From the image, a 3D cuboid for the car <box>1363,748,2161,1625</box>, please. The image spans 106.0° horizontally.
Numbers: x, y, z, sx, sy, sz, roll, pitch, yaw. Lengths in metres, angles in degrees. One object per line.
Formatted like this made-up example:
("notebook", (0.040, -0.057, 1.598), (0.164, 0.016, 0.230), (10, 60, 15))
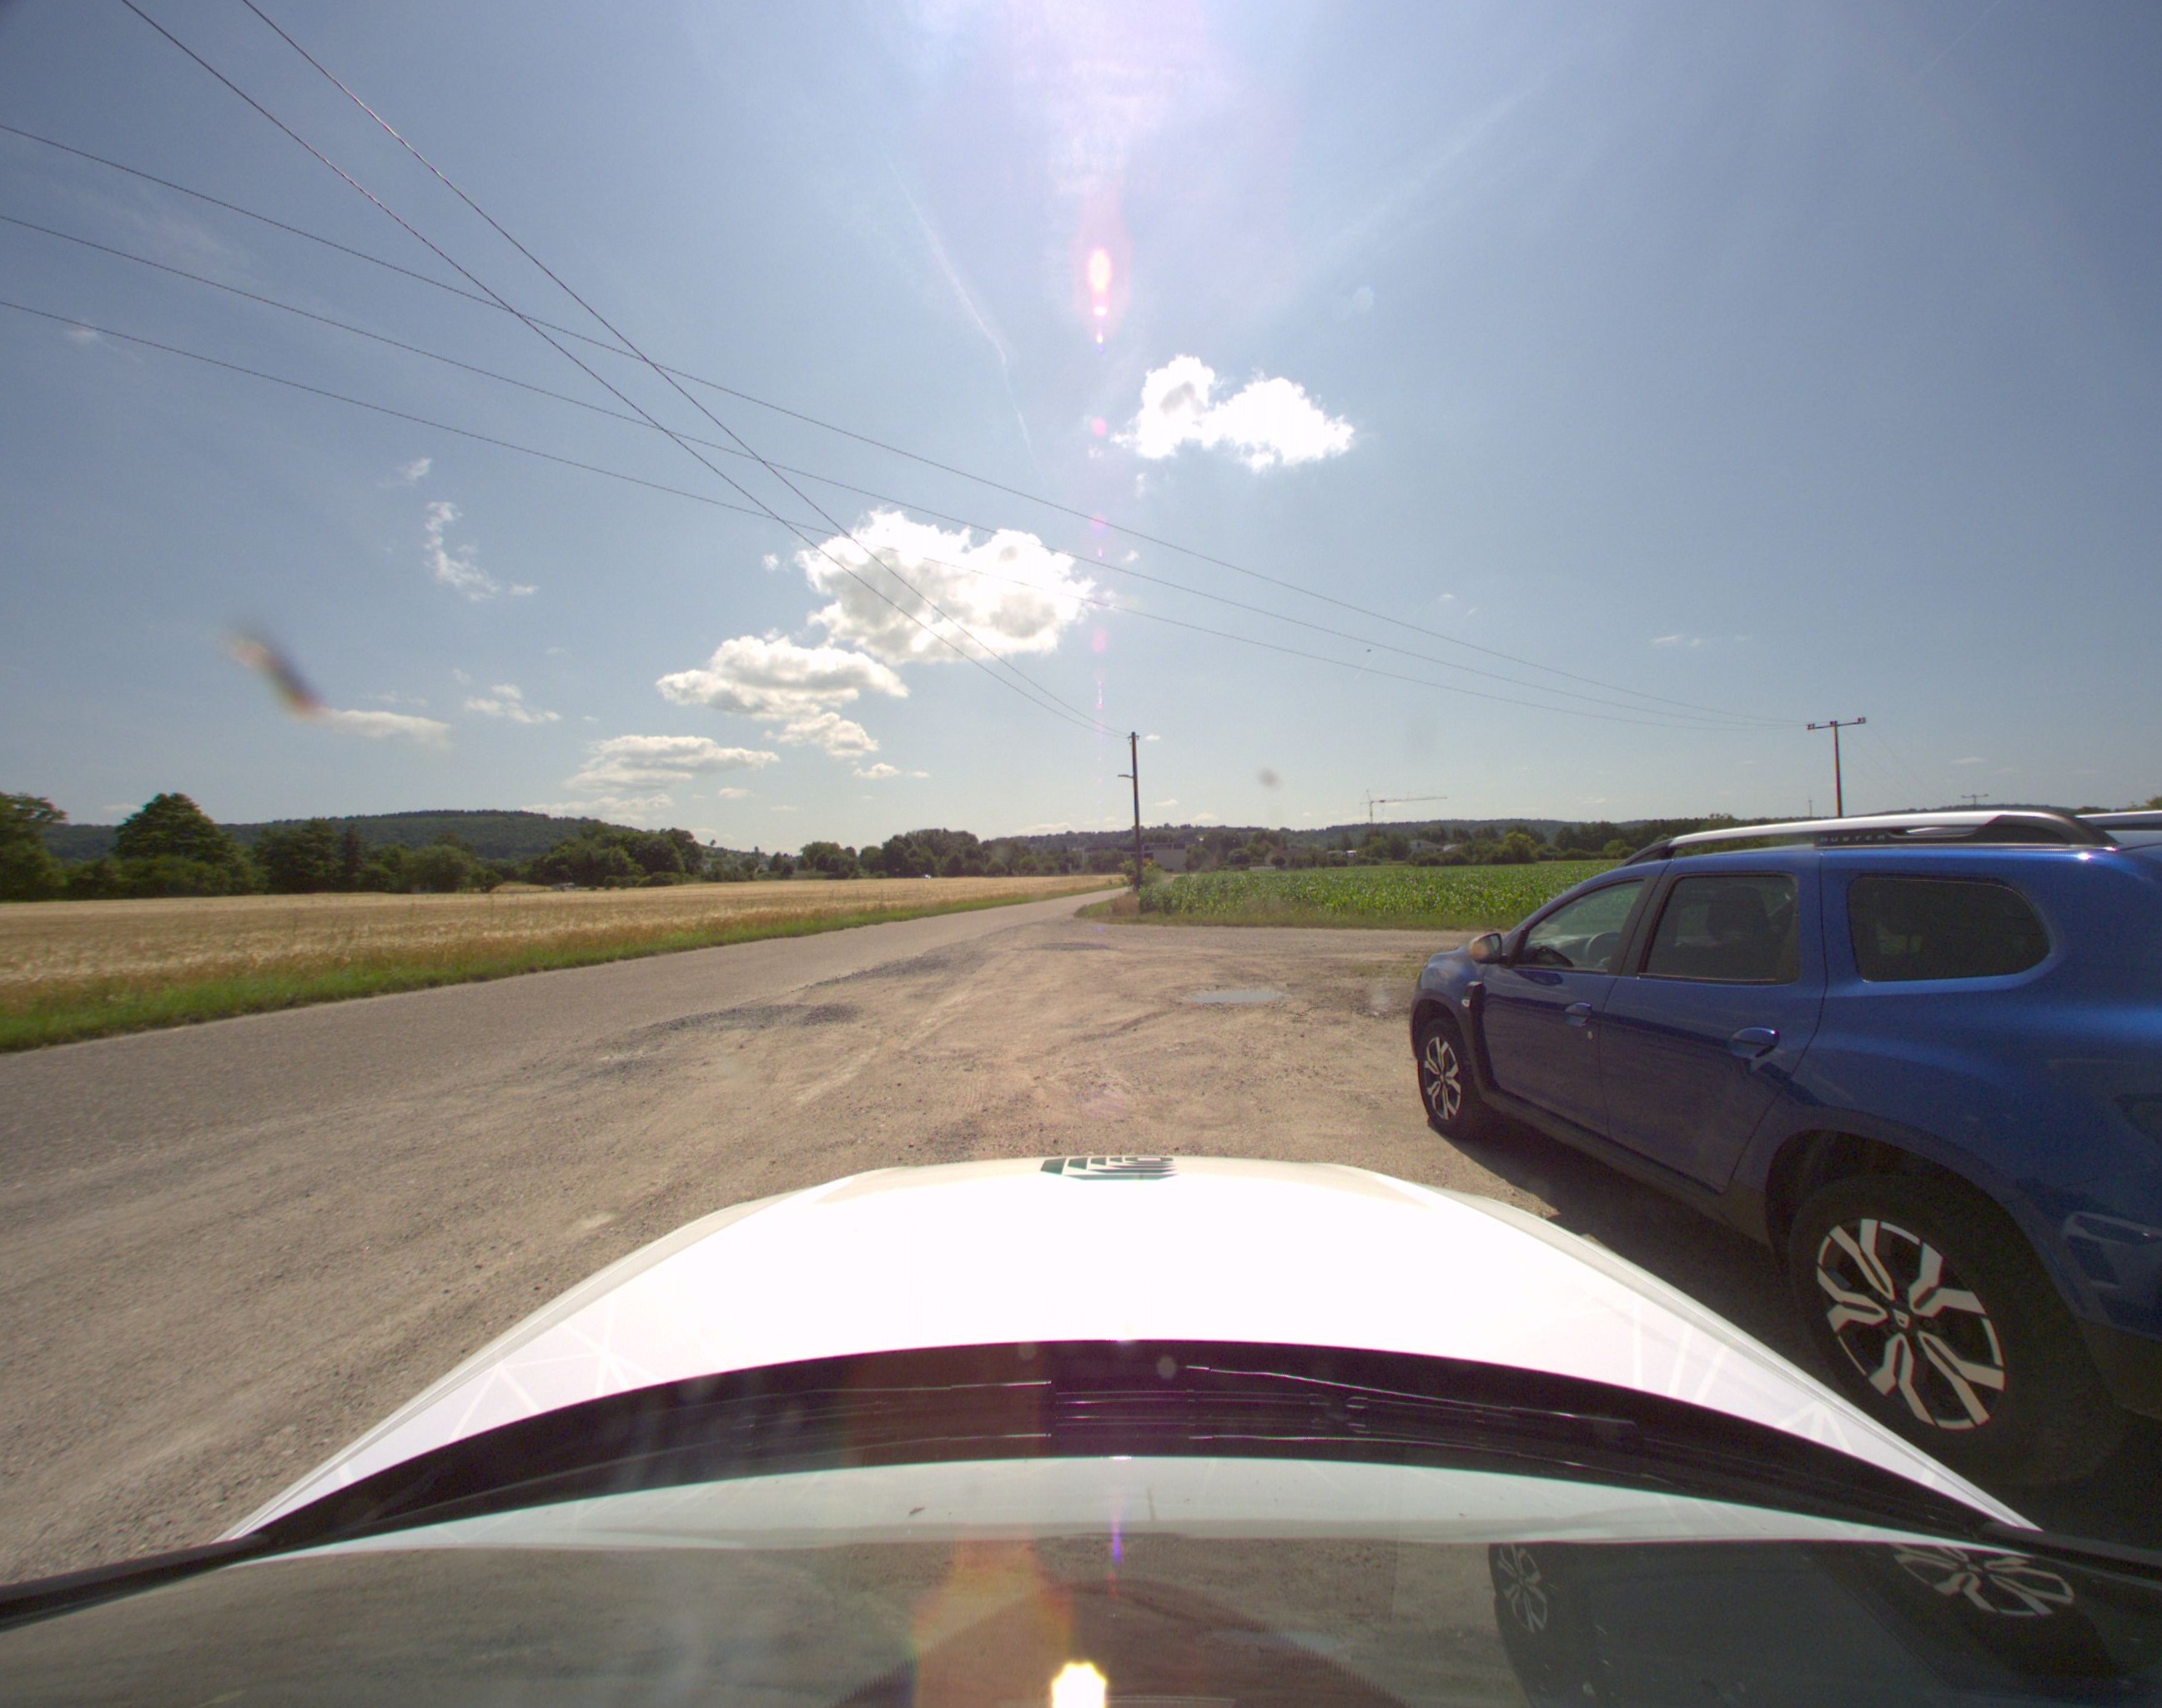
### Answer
("car", (2.951, 0.691, 3.530), (1.853, 1.661, 4.456), (-1, -2, -1))
